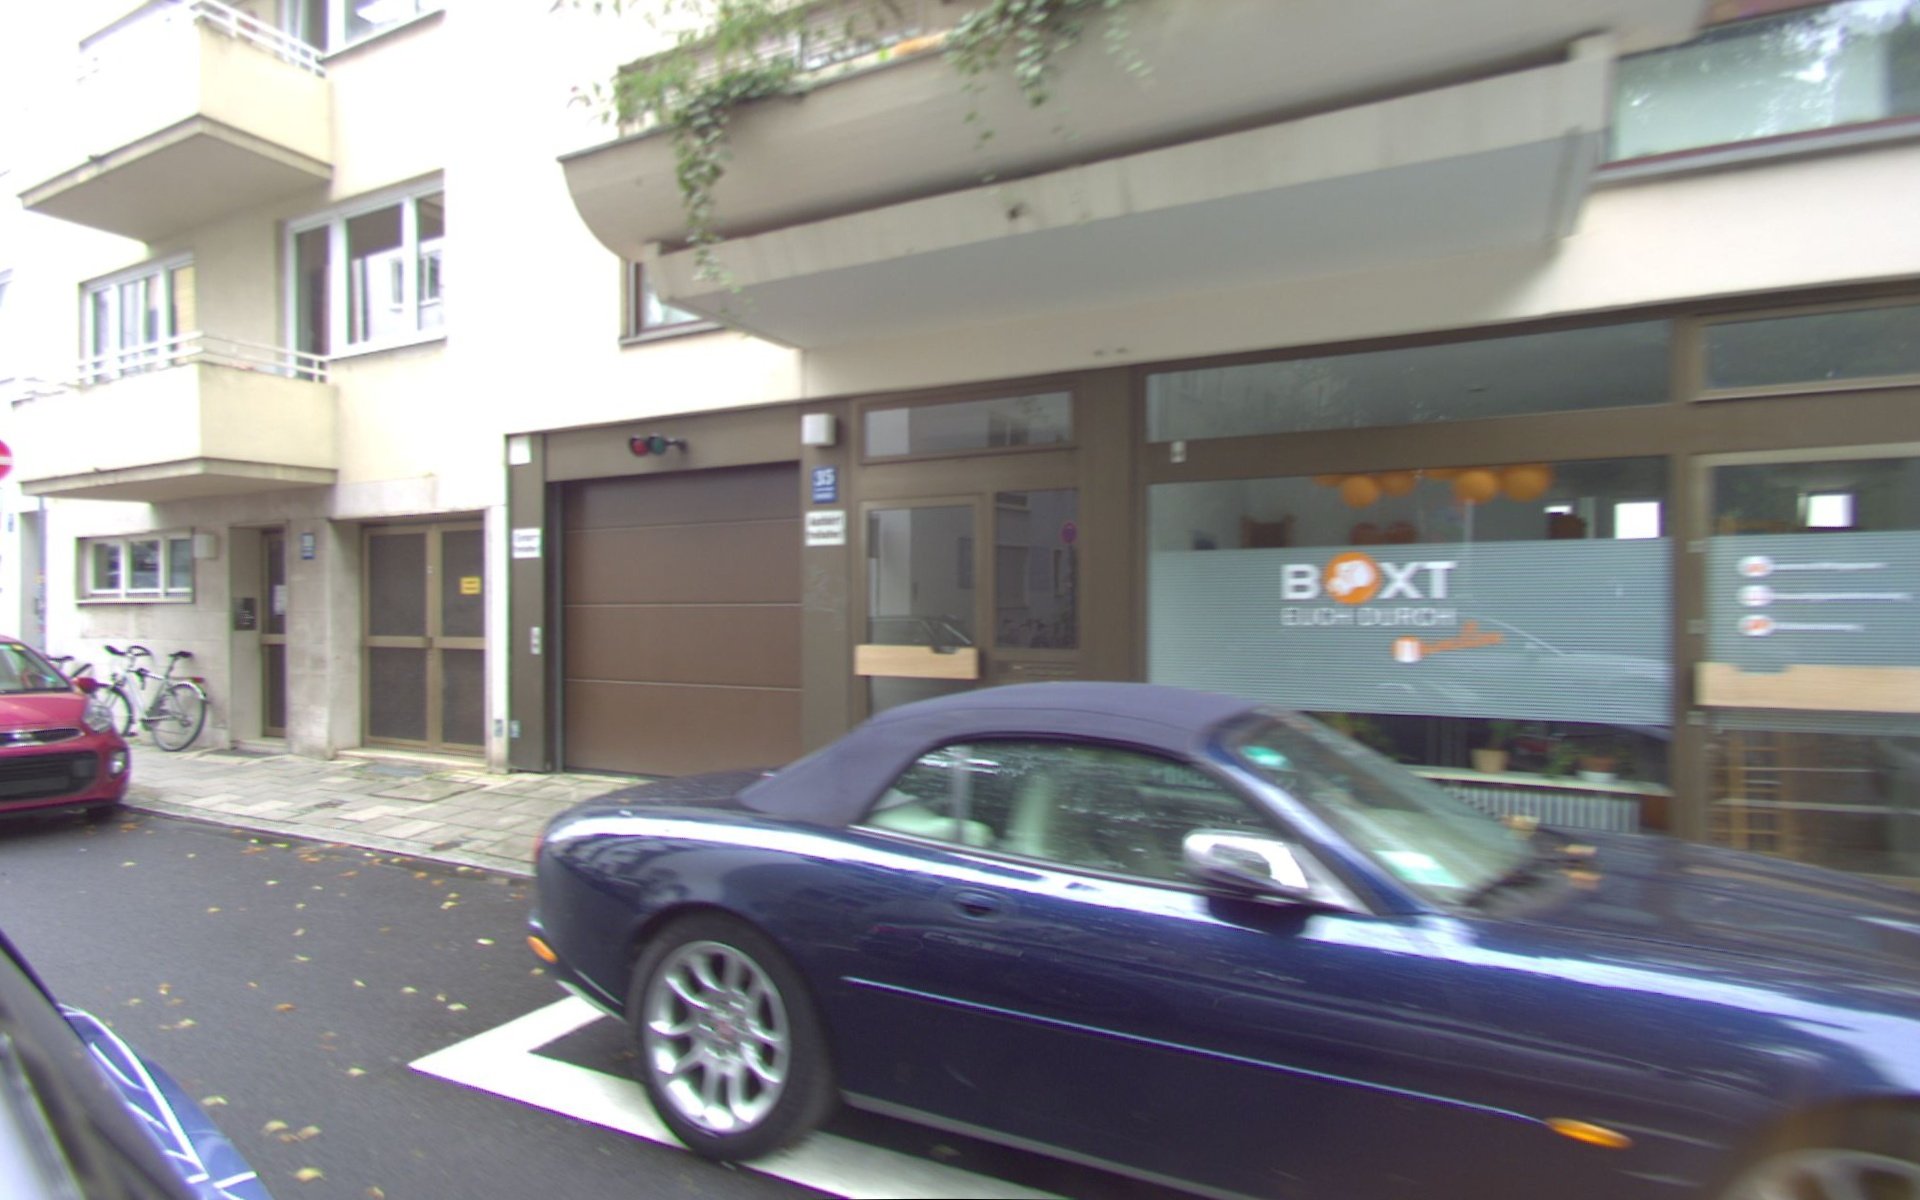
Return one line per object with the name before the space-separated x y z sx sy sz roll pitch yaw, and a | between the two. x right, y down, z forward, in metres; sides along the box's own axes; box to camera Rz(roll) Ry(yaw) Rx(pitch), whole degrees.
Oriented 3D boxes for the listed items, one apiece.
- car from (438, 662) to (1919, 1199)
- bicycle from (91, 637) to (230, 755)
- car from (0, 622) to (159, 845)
car | 0.896 0.857 2.797 4.592 1.288 1.787 -1 -3 26
bicycle | -8.456 0.977 10.691 1.751 1.157 0.464 -1 0 27
car | -8.128 0.934 7.815 3.688 1.508 1.611 -1 -1 26
